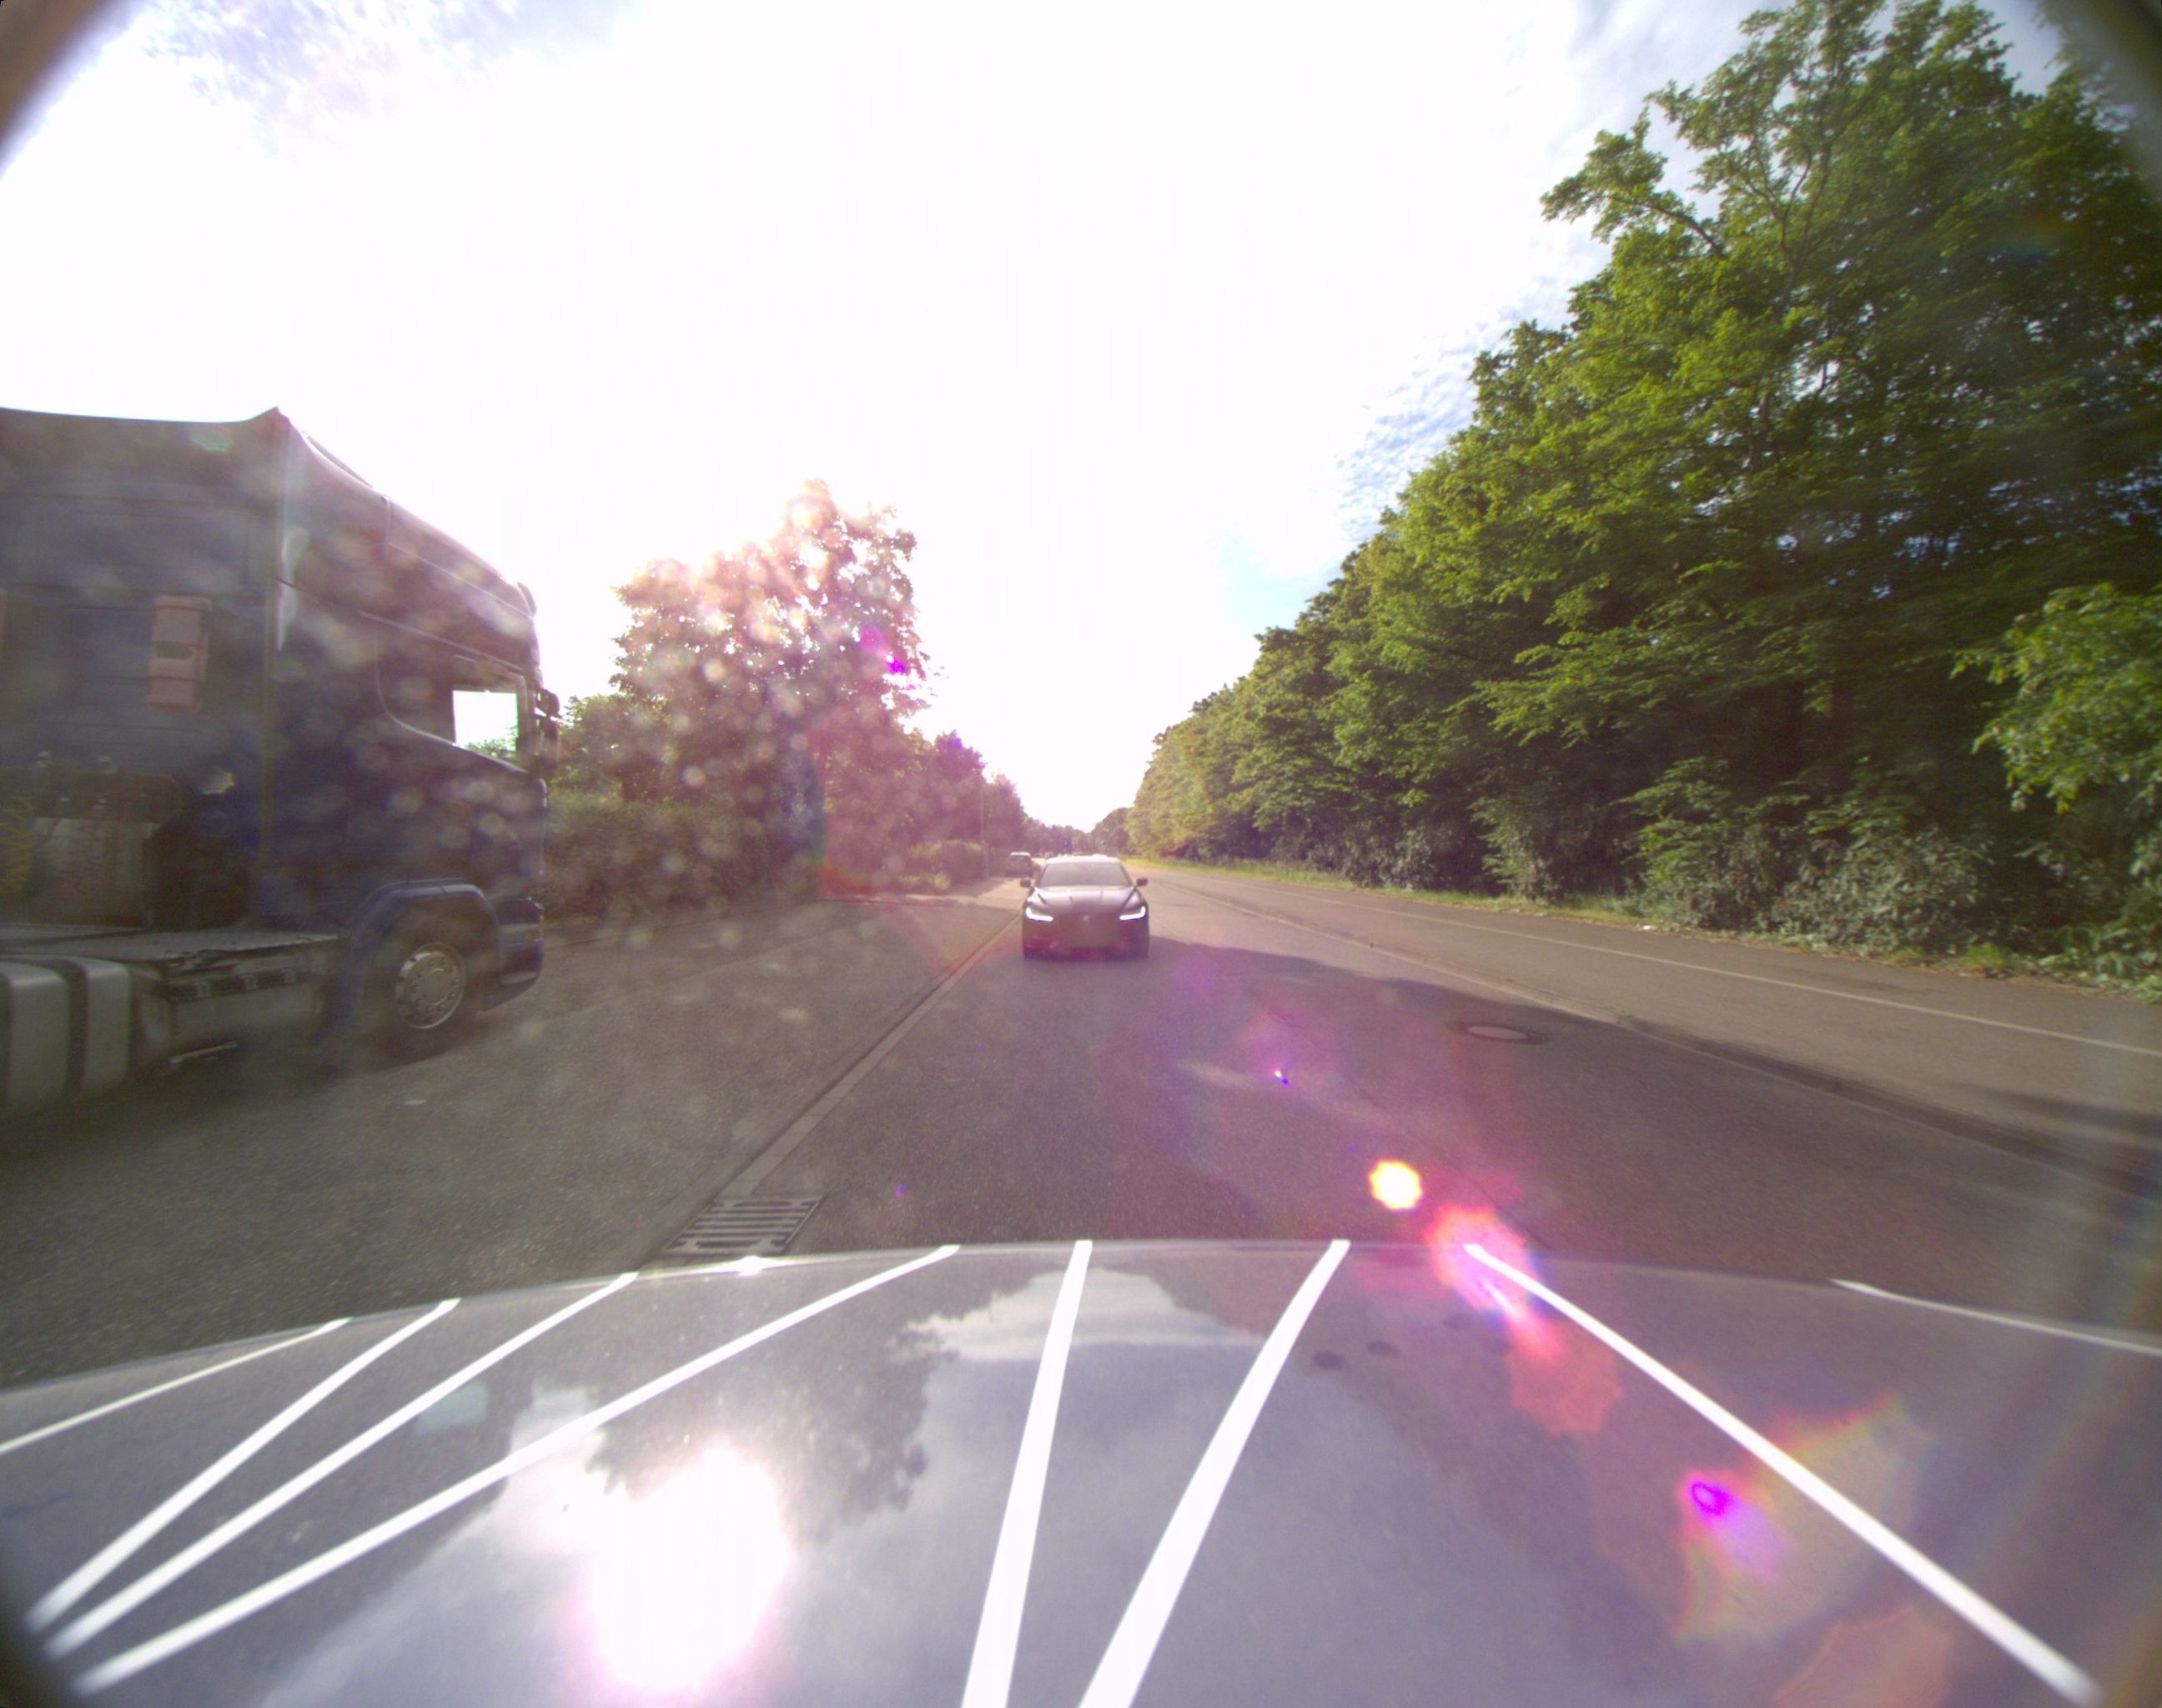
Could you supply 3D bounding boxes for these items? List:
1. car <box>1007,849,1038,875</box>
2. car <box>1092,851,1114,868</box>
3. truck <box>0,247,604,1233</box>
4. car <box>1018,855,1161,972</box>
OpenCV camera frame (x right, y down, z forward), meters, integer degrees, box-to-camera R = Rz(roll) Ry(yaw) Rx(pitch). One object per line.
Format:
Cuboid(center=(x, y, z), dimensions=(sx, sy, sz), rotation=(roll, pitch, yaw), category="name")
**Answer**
Cuboid(center=(-3.787, 0.493, 49.879), dimensions=(1.751, 1.561, 3.861), rotation=(1, 1, -1), category="car")
Cuboid(center=(1.918, 0.492, 66.523), dimensions=(1.751, 1.380, 3.861), rotation=(1, 1, -1), category="car")
Cuboid(center=(-5.645, -0.481, 3.735), dimensions=(2.602, 3.936, 6.282), rotation=(3, 1, -1), category="truck")
Cuboid(center=(0.150, 0.818, 12.730), dimensions=(1.936, 1.501, 4.679), rotation=(-1, 1, 1), category="car")
